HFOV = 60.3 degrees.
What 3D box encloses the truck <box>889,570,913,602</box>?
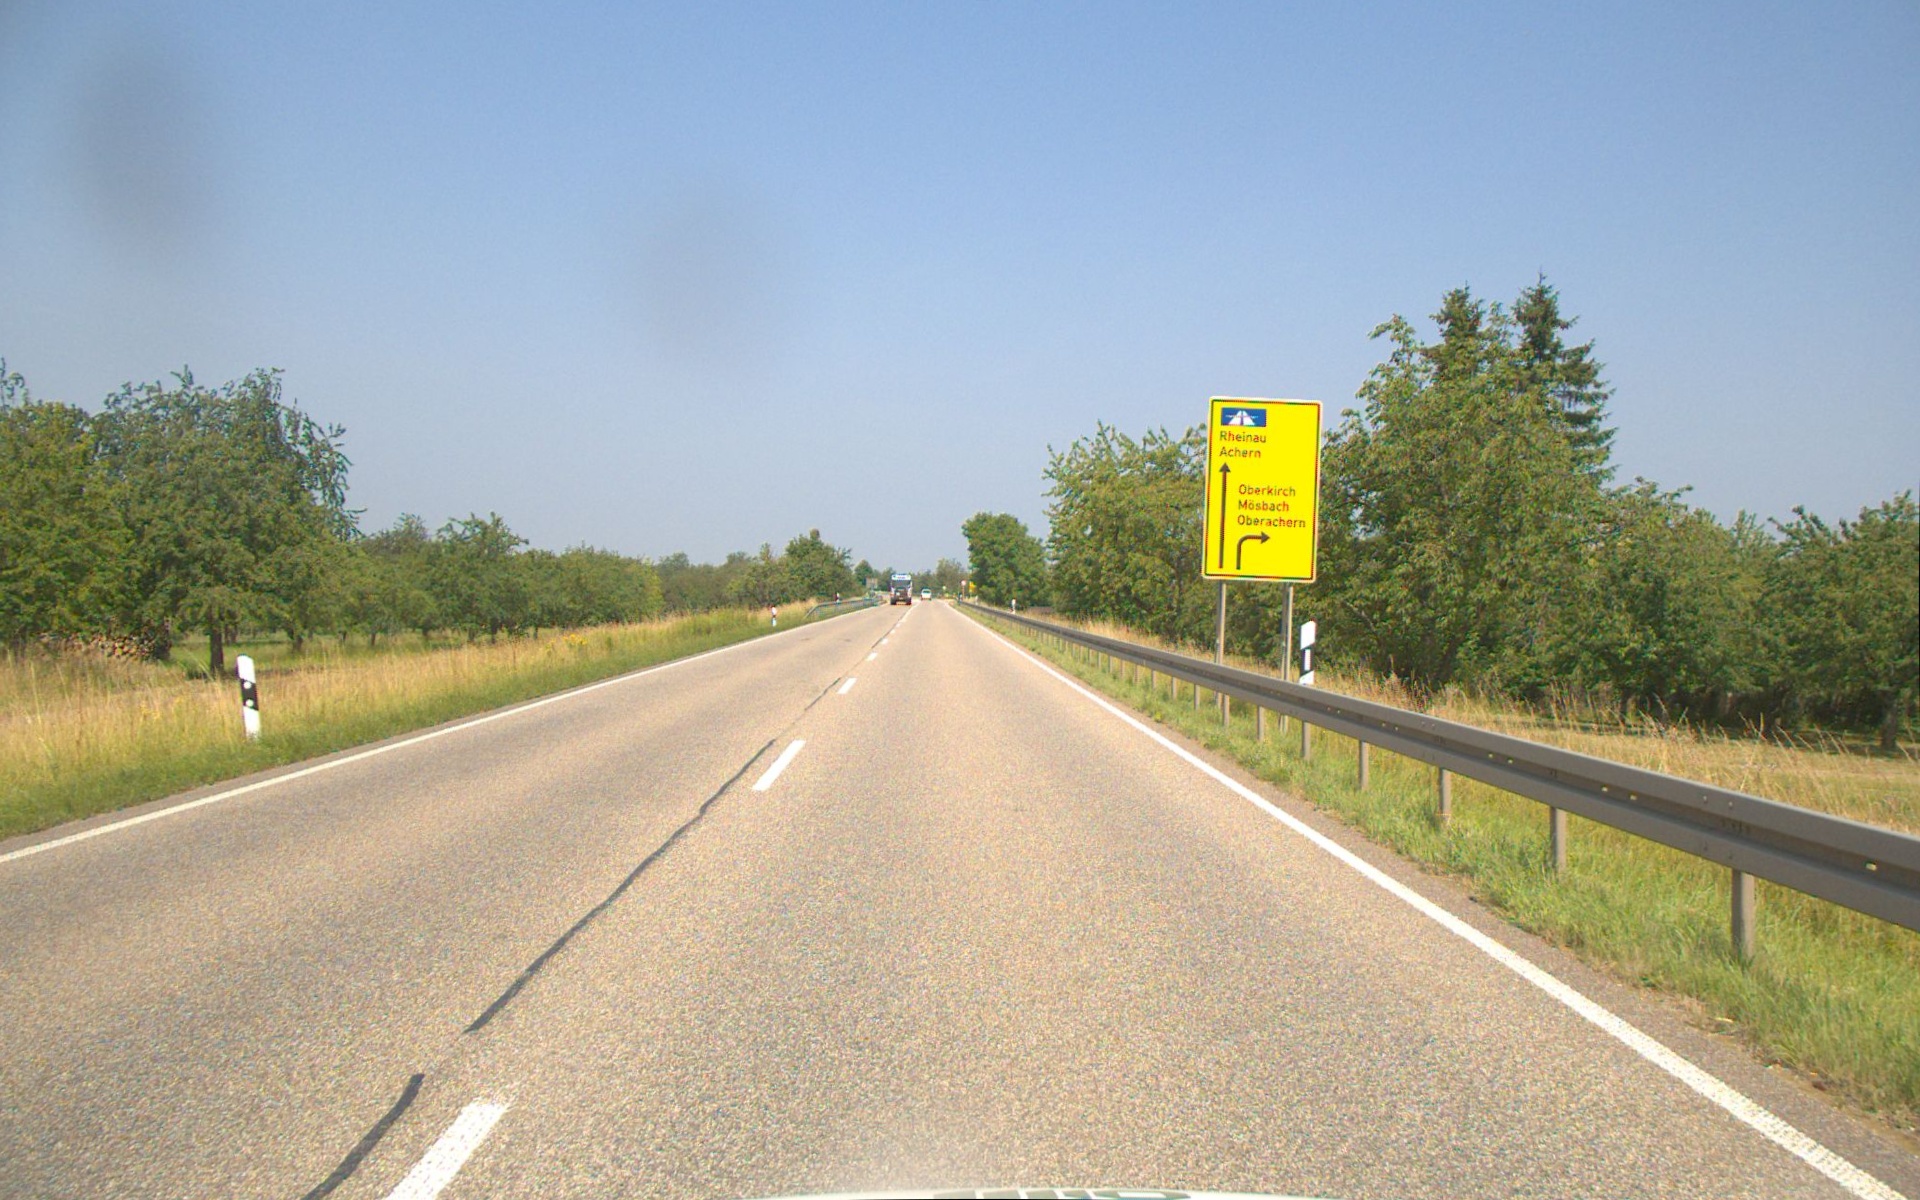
[{"bbox_3d":[-7.042,-1.649,198.371,2.673,3.736,9.380,1,0,-1],"label":"truck"}]
